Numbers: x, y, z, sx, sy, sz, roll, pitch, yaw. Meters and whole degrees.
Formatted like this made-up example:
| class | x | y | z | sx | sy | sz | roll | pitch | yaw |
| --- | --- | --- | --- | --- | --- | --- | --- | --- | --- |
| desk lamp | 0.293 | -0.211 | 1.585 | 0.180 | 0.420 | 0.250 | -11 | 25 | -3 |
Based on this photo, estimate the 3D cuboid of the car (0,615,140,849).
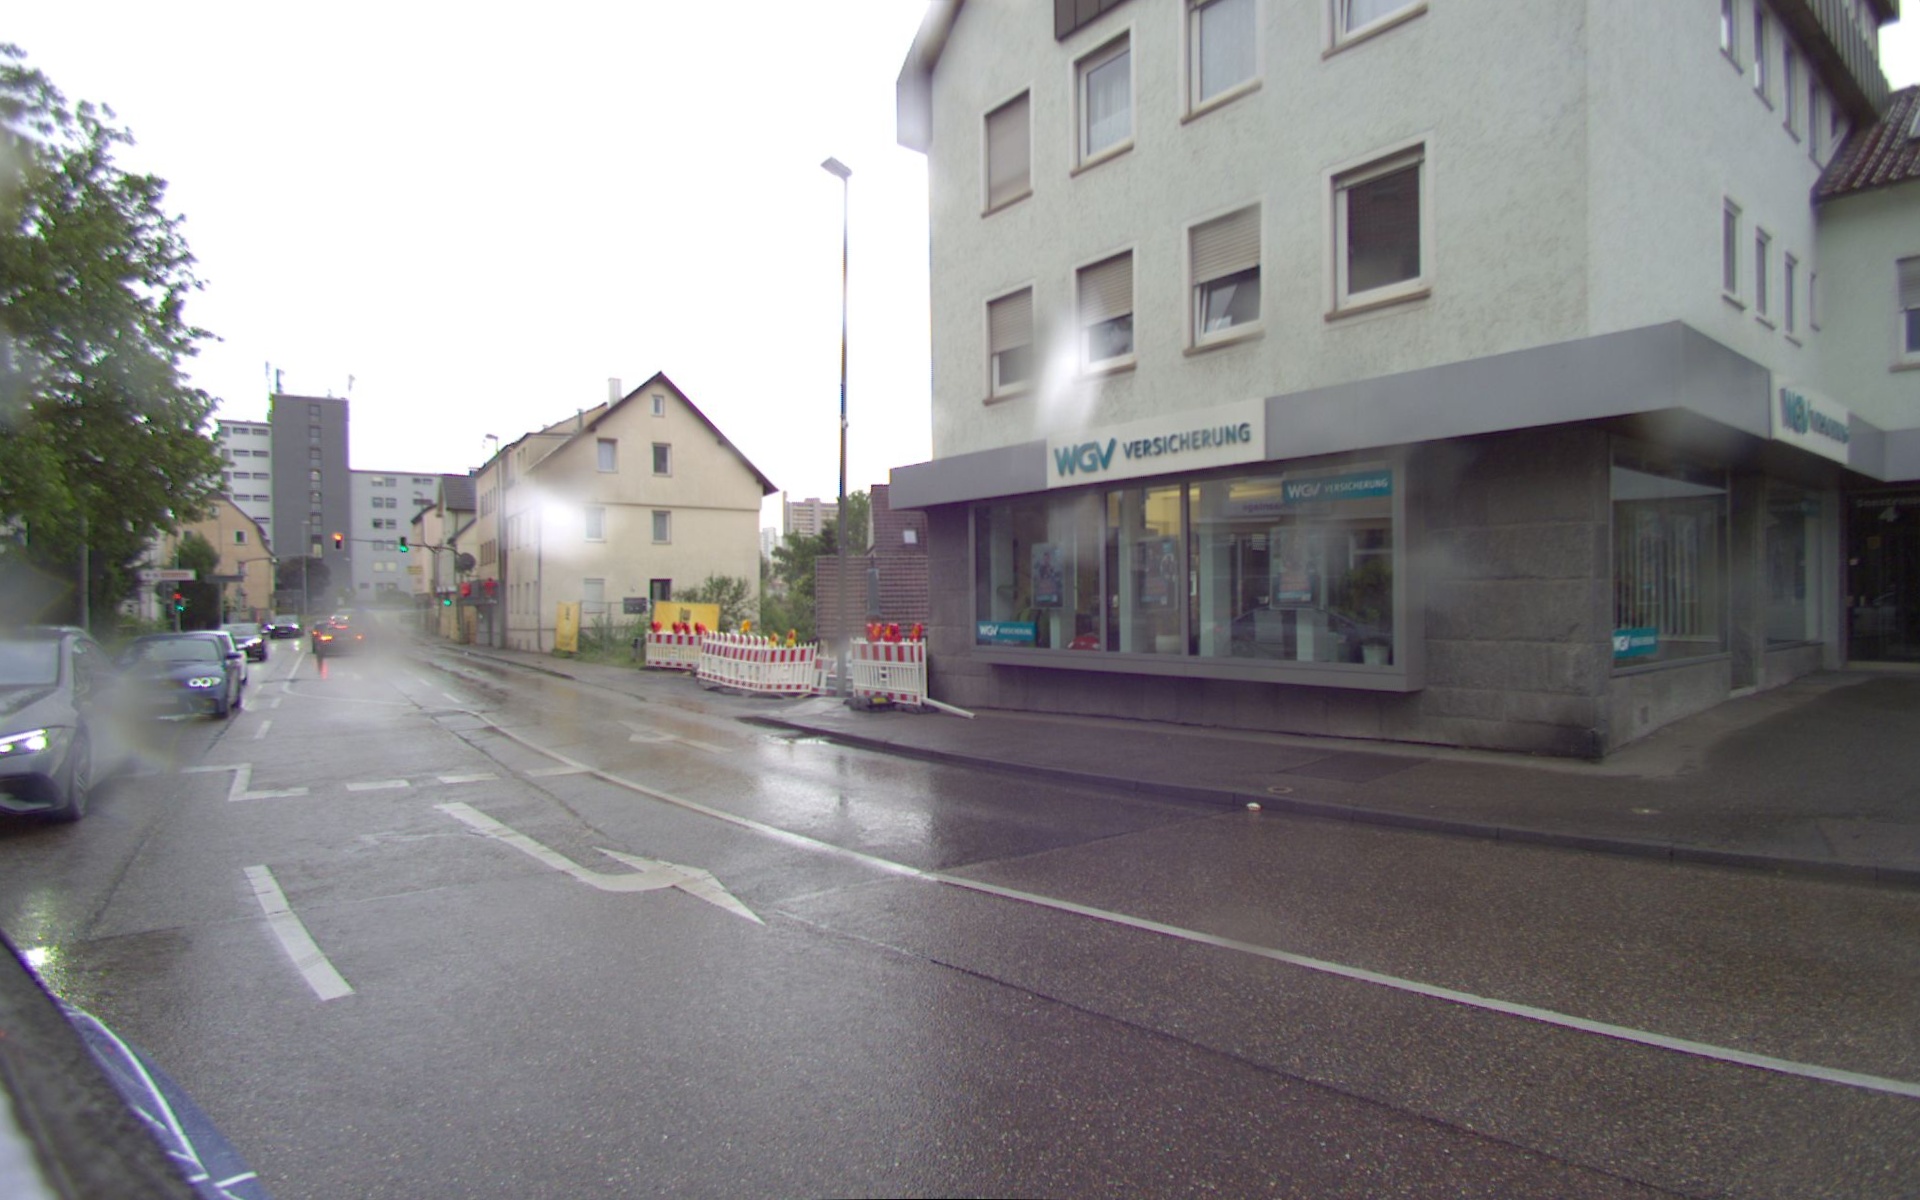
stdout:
| class | x | y | z | sx | sy | sz | roll | pitch | yaw |
| --- | --- | --- | --- | --- | --- | --- | --- | --- | --- |
| car | -8.221 | 0.974 | 8.338 | 1.791 | 1.583 | 4.287 | -1 | -1 | -33 |

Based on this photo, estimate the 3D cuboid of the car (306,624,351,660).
| class | x | y | z | sx | sy | sz | roll | pitch | yaw |
| --- | --- | --- | --- | --- | --- | --- | --- | --- | --- |
| car | -32.029 | 2.108 | 51.255 | 1.791 | 1.657 | 4.287 | -1 | -1 | -34 |

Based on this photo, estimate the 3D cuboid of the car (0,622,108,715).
| class | x | y | z | sx | sy | sz | roll | pitch | yaw |
| --- | --- | --- | --- | --- | --- | --- | --- | --- | --- |
| car | -20.094 | 1.407 | 21.759 | 1.904 | 1.794 | 4.748 | 0 | -2 | -30 |

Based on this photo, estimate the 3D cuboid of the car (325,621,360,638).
| class | x | y | z | sx | sy | sz | roll | pitch | yaw |
| --- | --- | --- | --- | --- | --- | --- | --- | --- | --- |
| car | -60.706 | 2.890 | 99.589 | 1.591 | 1.515 | 3.724 | -2 | 0 | -9 |

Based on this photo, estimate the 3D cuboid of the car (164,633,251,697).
| class | x | y | z | sx | sy | sz | roll | pitch | yaw |
| --- | --- | --- | --- | --- | --- | --- | --- | --- | --- |
| car | -19.182 | 1.606 | 25.900 | 1.660 | 1.432 | 4.010 | -1 | -1 | -35 |

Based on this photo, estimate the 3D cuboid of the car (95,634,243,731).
| class | x | y | z | sx | sy | sz | roll | pitch | yaw |
| --- | --- | --- | --- | --- | --- | --- | --- | --- | --- |
| car | -13.373 | 1.317 | 17.304 | 1.615 | 1.443 | 3.816 | 1 | -2 | -33 |

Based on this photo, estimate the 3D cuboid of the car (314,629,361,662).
| class | x | y | z | sx | sy | sz | roll | pitch | yaw |
| --- | --- | --- | --- | --- | --- | --- | --- | --- | --- |
| car | -28.289 | 2.027 | 45.947 | 1.684 | 1.394 | 3.679 | -1 | -1 | -33 |

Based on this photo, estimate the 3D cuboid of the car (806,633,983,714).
| class | x | y | z | sx | sy | sz | roll | pitch | yaw |
| --- | --- | --- | --- | --- | --- | --- | --- | --- | --- |
| car | -1.360 | 1.624 | 21.744 | 3.456 | 1.401 | 1.653 | 10 | -10 | -41 |

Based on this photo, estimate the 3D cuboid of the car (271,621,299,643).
| class | x | y | z | sx | sy | sz | roll | pitch | yaw |
| --- | --- | --- | --- | --- | --- | --- | --- | --- | --- |
| car | -50.019 | 2.367 | 75.024 | 1.524 | 1.545 | 3.699 | -1 | 0 | -31 |

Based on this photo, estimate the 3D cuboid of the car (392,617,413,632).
| class | x | y | z | sx | sy | sz | roll | pitch | yaw |
| --- | --- | --- | --- | --- | --- | --- | --- | --- | --- |
| car | -58.850 | 2.560 | 106.861 | 1.790 | 1.583 | 4.289 | 0 | -2 | -27 |

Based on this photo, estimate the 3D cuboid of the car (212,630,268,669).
| class | x | y | z | sx | sy | sz | roll | pitch | yaw |
| --- | --- | --- | --- | --- | --- | --- | --- | --- | --- |
| car | -29.902 | 2.005 | 42.111 | 1.659 | 1.472 | 4.011 | -1 | -1 | -32 |
